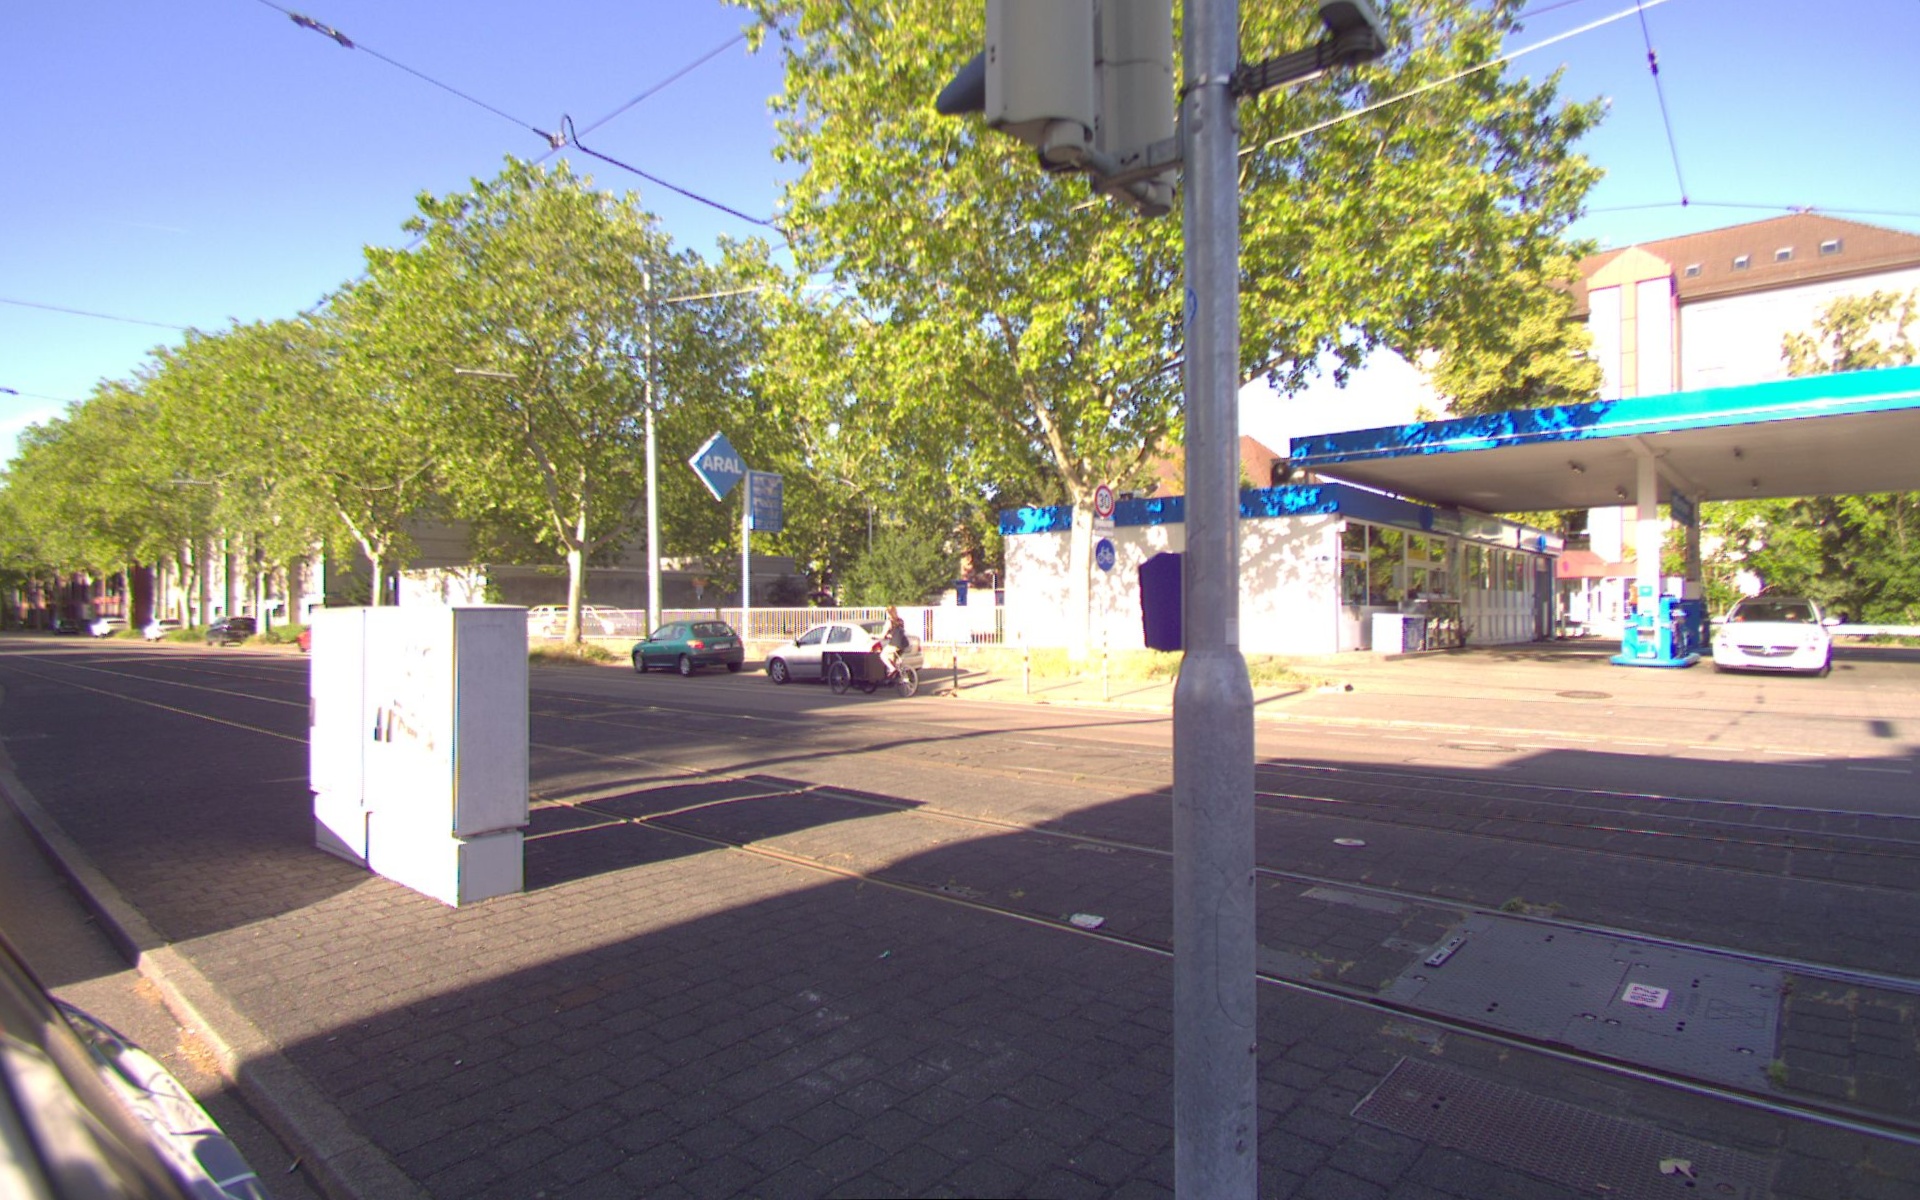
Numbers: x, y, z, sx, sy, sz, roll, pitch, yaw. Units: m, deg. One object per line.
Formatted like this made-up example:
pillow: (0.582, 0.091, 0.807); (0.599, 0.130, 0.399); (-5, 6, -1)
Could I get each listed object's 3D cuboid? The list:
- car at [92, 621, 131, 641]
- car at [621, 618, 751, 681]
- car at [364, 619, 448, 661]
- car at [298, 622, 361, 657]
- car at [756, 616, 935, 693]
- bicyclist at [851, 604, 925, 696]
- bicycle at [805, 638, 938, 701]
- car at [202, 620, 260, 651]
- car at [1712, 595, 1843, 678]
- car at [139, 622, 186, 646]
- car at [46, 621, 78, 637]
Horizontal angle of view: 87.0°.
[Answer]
car: (-66.680, 2.396, 79.515); (3.998, 1.525, 1.779); (-1, -1, 41)
car: (-7.321, 1.274, 26.921); (3.519, 1.475, 1.670); (-1, 2, 43)
car: (-21.935, 1.548, 40.040); (3.652, 1.541, 1.802); (-1, -1, 41)
car: (-28.549, 1.748, 45.787); (3.045, 1.519, 1.620); (-1, -1, 41)
car: (-2.623, 1.157, 22.652); (3.965, 1.475, 1.771); (-1, 2, 43)
bicyclist: (-1.354, 0.910, 18.913); (1.027, 1.650, 0.922); (-2, -1, 41)
bicycle: (-1.701, 1.274, 19.109); (2.518, 1.110, 1.045); (-1, -3, 41)
car: (-40.749, 1.949, 56.577); (3.998, 1.674, 1.779); (-1, -1, 41)
car: (16.034, 0.675, 19.898); (1.812, 1.453, 3.947); (-1, -1, 39)
car: (-53.716, 2.261, 68.150); (3.998, 1.509, 1.779); (-1, -1, 41)
car: (-85.321, 2.725, 96.102); (3.998, 1.525, 1.779); (-1, -1, 41)
